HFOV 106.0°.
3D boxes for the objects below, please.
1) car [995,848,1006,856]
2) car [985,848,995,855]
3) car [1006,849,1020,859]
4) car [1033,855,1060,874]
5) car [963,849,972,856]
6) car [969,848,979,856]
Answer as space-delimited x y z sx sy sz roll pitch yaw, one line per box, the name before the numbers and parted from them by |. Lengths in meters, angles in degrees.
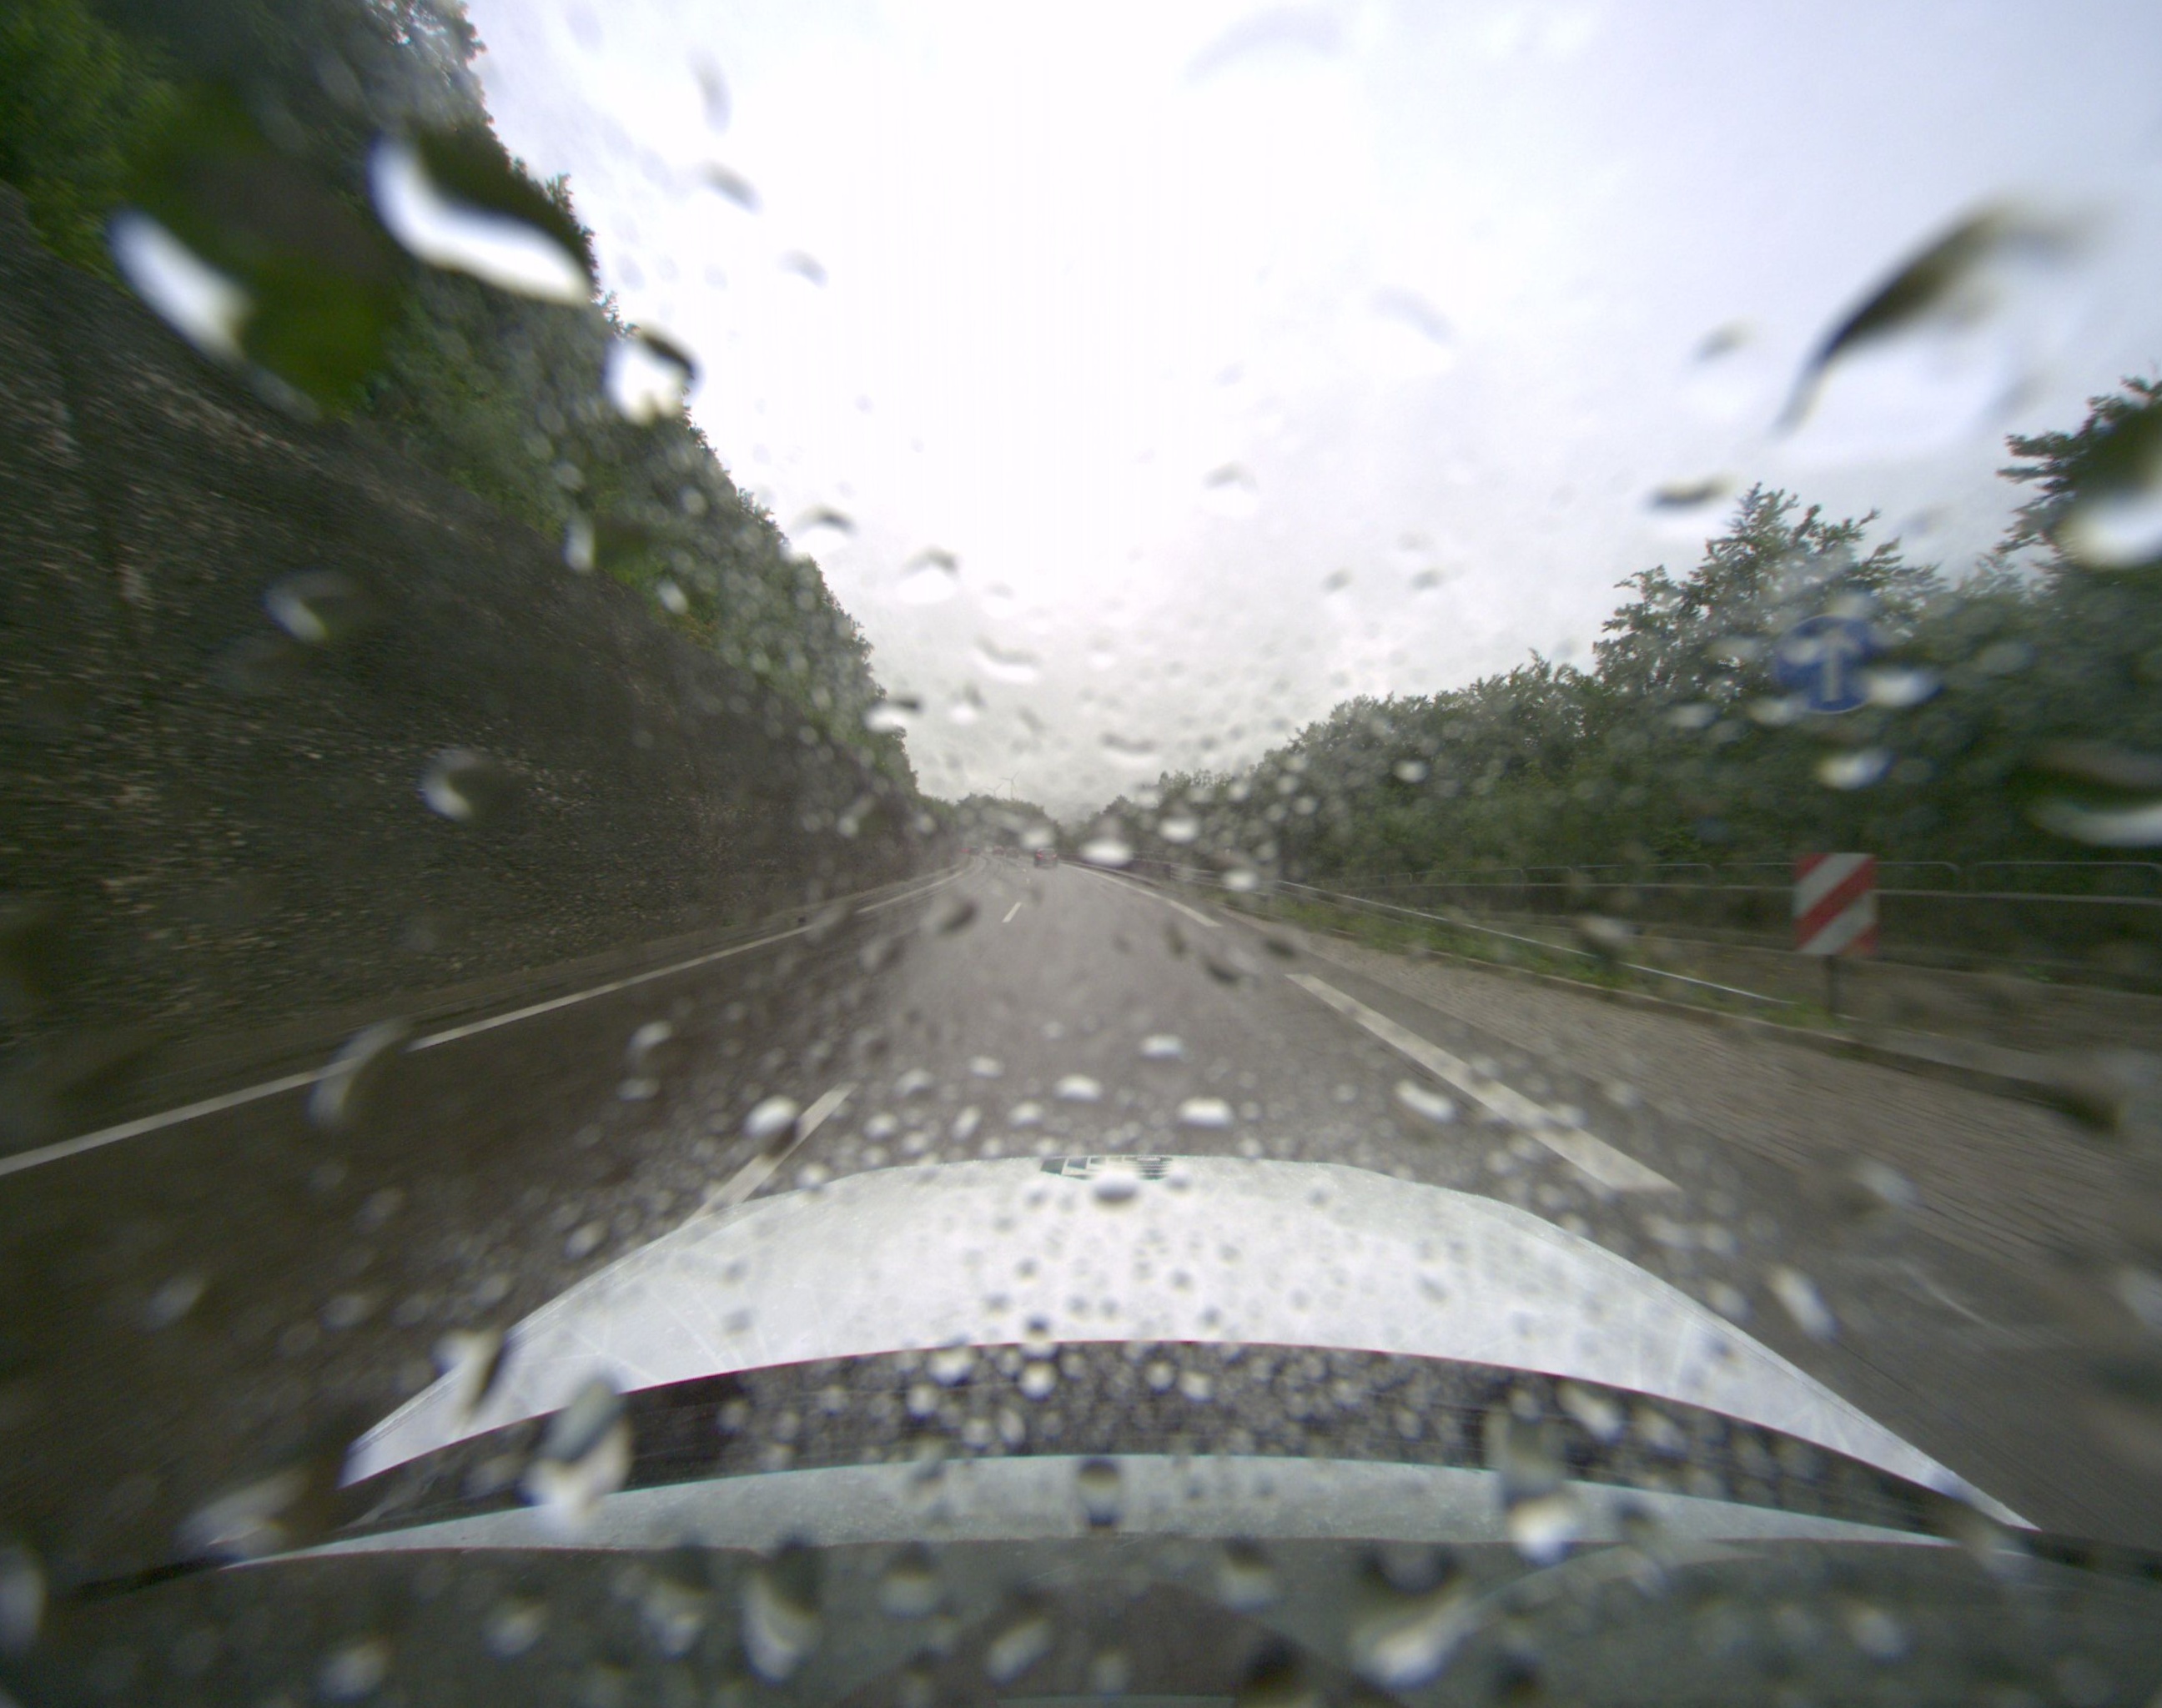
car | -15.072 -0.446 152.757 1.903 1.499 3.988 0 0 -9
car | -19.374 -0.491 172.668 1.903 1.499 3.988 0 0 -9
car | -10.366 0.028 123.711 1.904 1.499 3.987 0 0 -10
car | -2.882 0.852 67.219 1.902 1.499 3.990 0 0 -7
car | -24.594 -0.418 176.578 1.904 1.499 3.986 0 0 -11
car | -19.701 -0.378 149.911 1.903 1.499 3.988 0 0 -9
